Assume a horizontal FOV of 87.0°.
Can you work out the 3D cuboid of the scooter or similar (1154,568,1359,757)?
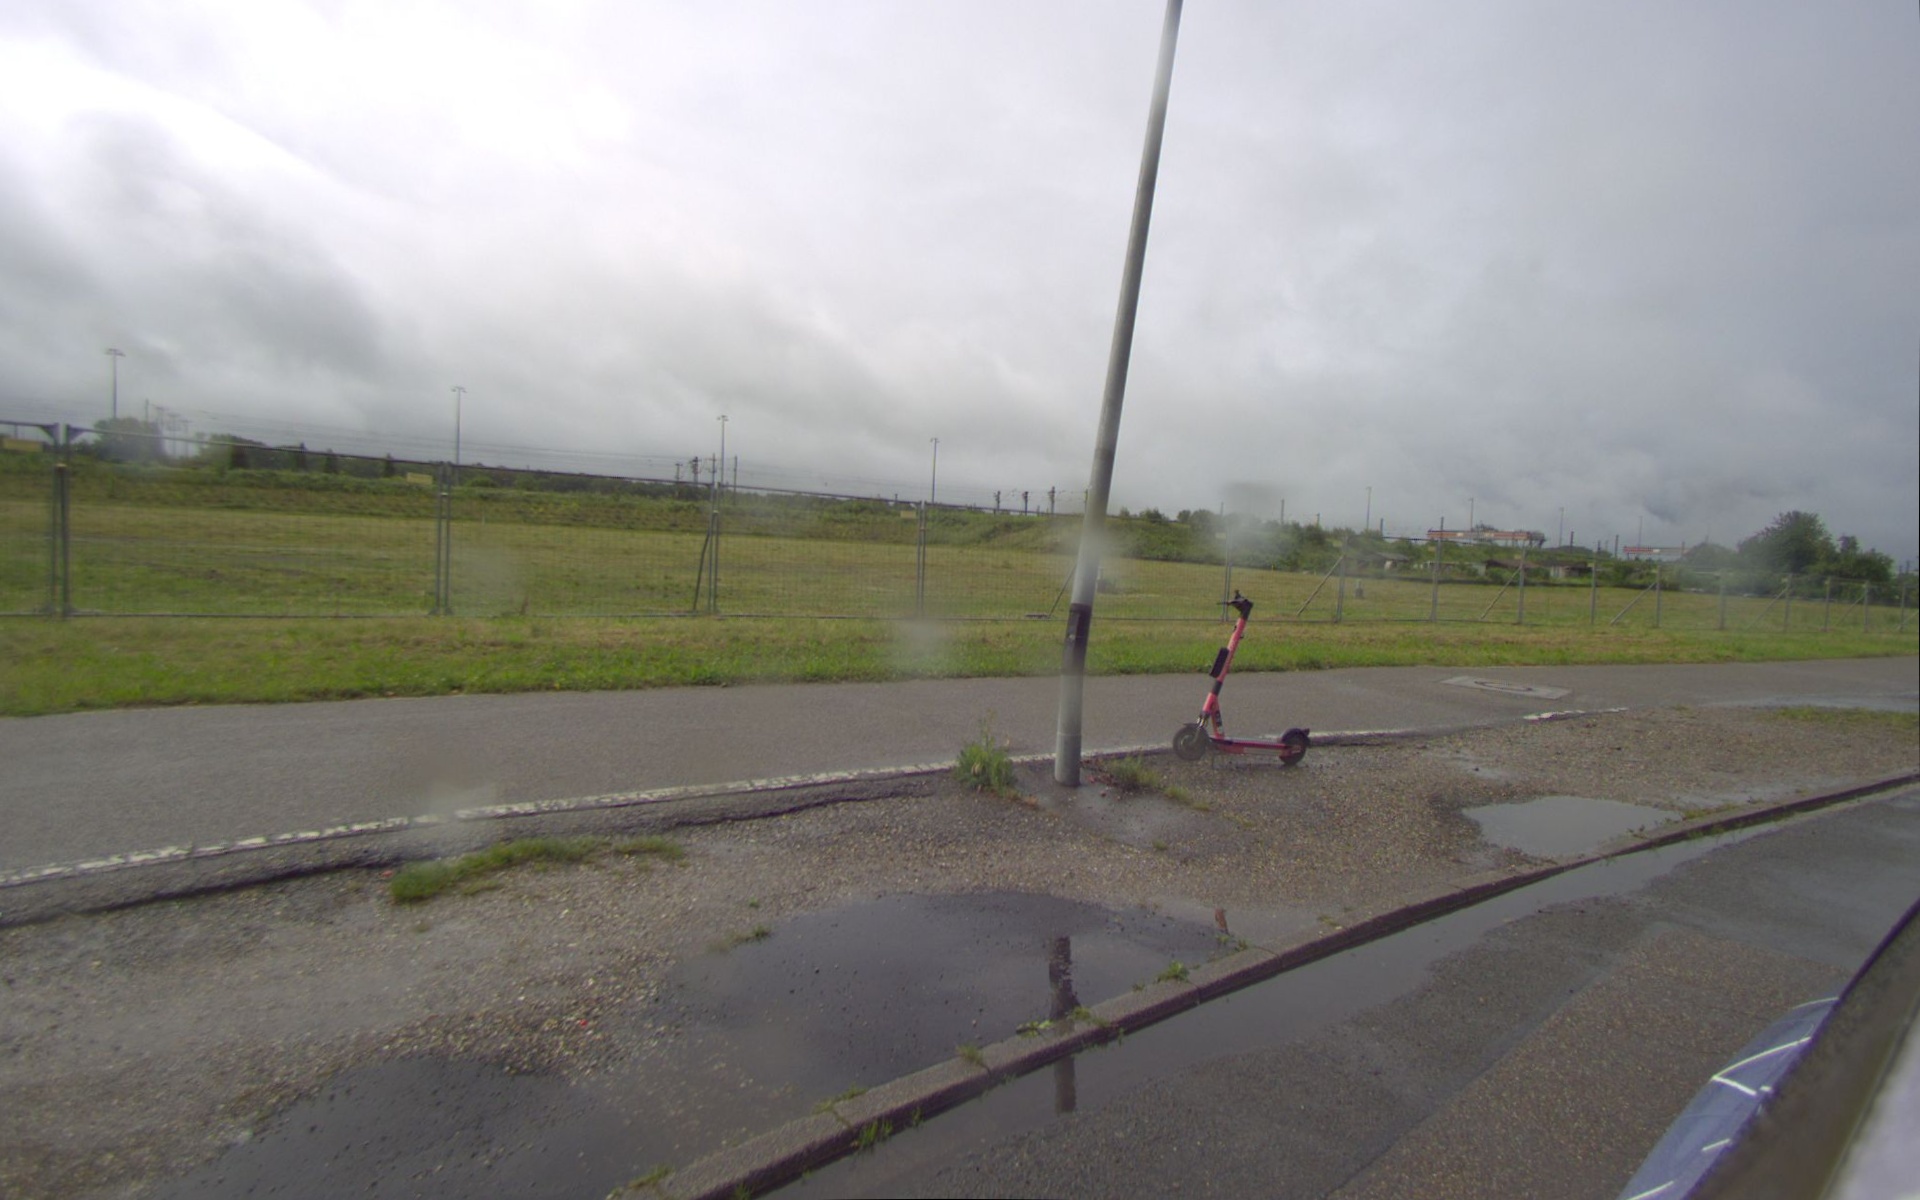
[{"bbox_3d":[2.097,0.424,7.161,1.312,1.229,0.494,2,3,-23],"label":"scooter or similar"}]
